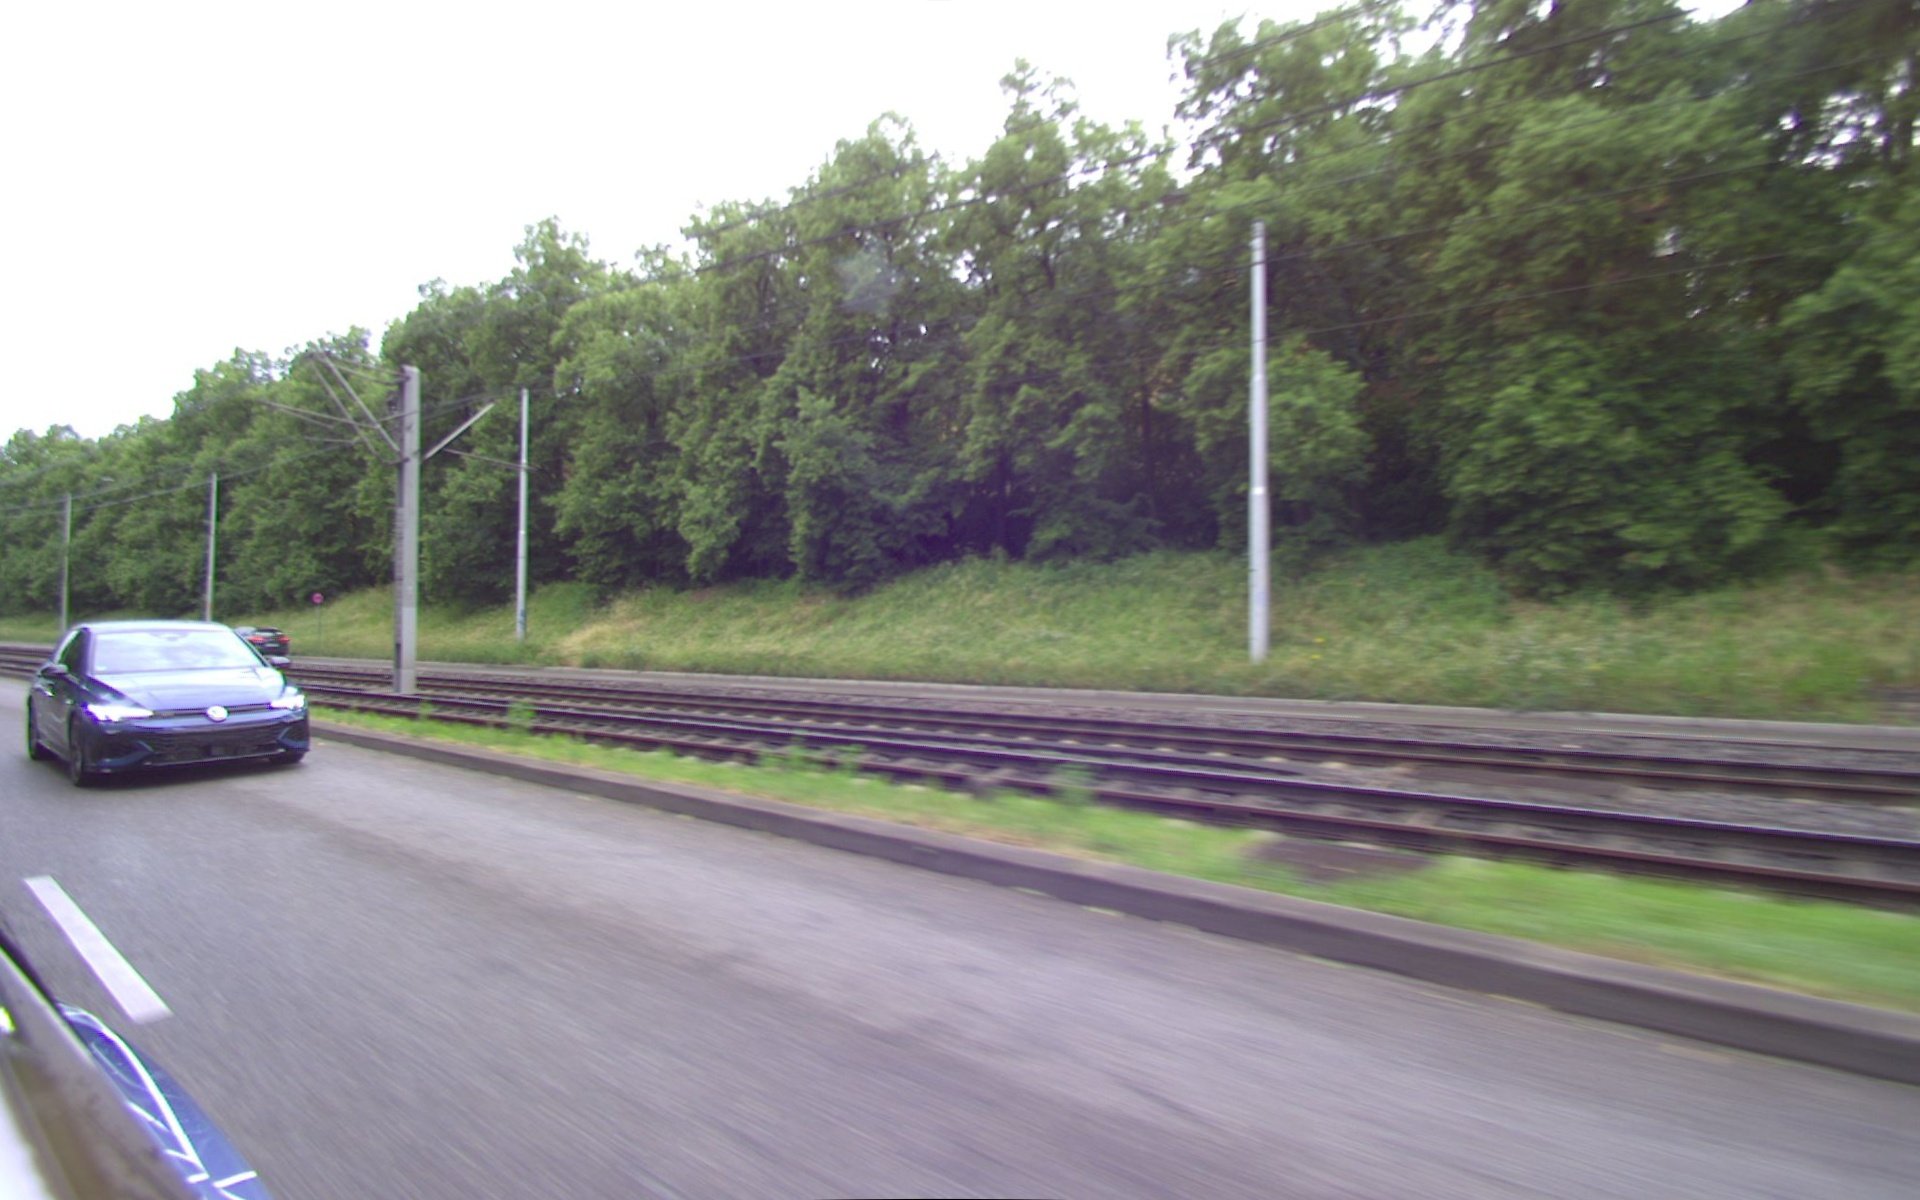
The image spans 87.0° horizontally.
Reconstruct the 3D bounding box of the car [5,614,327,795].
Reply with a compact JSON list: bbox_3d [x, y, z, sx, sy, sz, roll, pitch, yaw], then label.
[{"bbox_3d":[-8.257,0.881,10.376,4.344,1.389,1.789,0,1,41],"label":"car"}]

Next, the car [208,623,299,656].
[{"bbox_3d":[-33.182,1.869,47.525,4.419,1.442,1.977,-1,-5,34],"label":"car"}]
